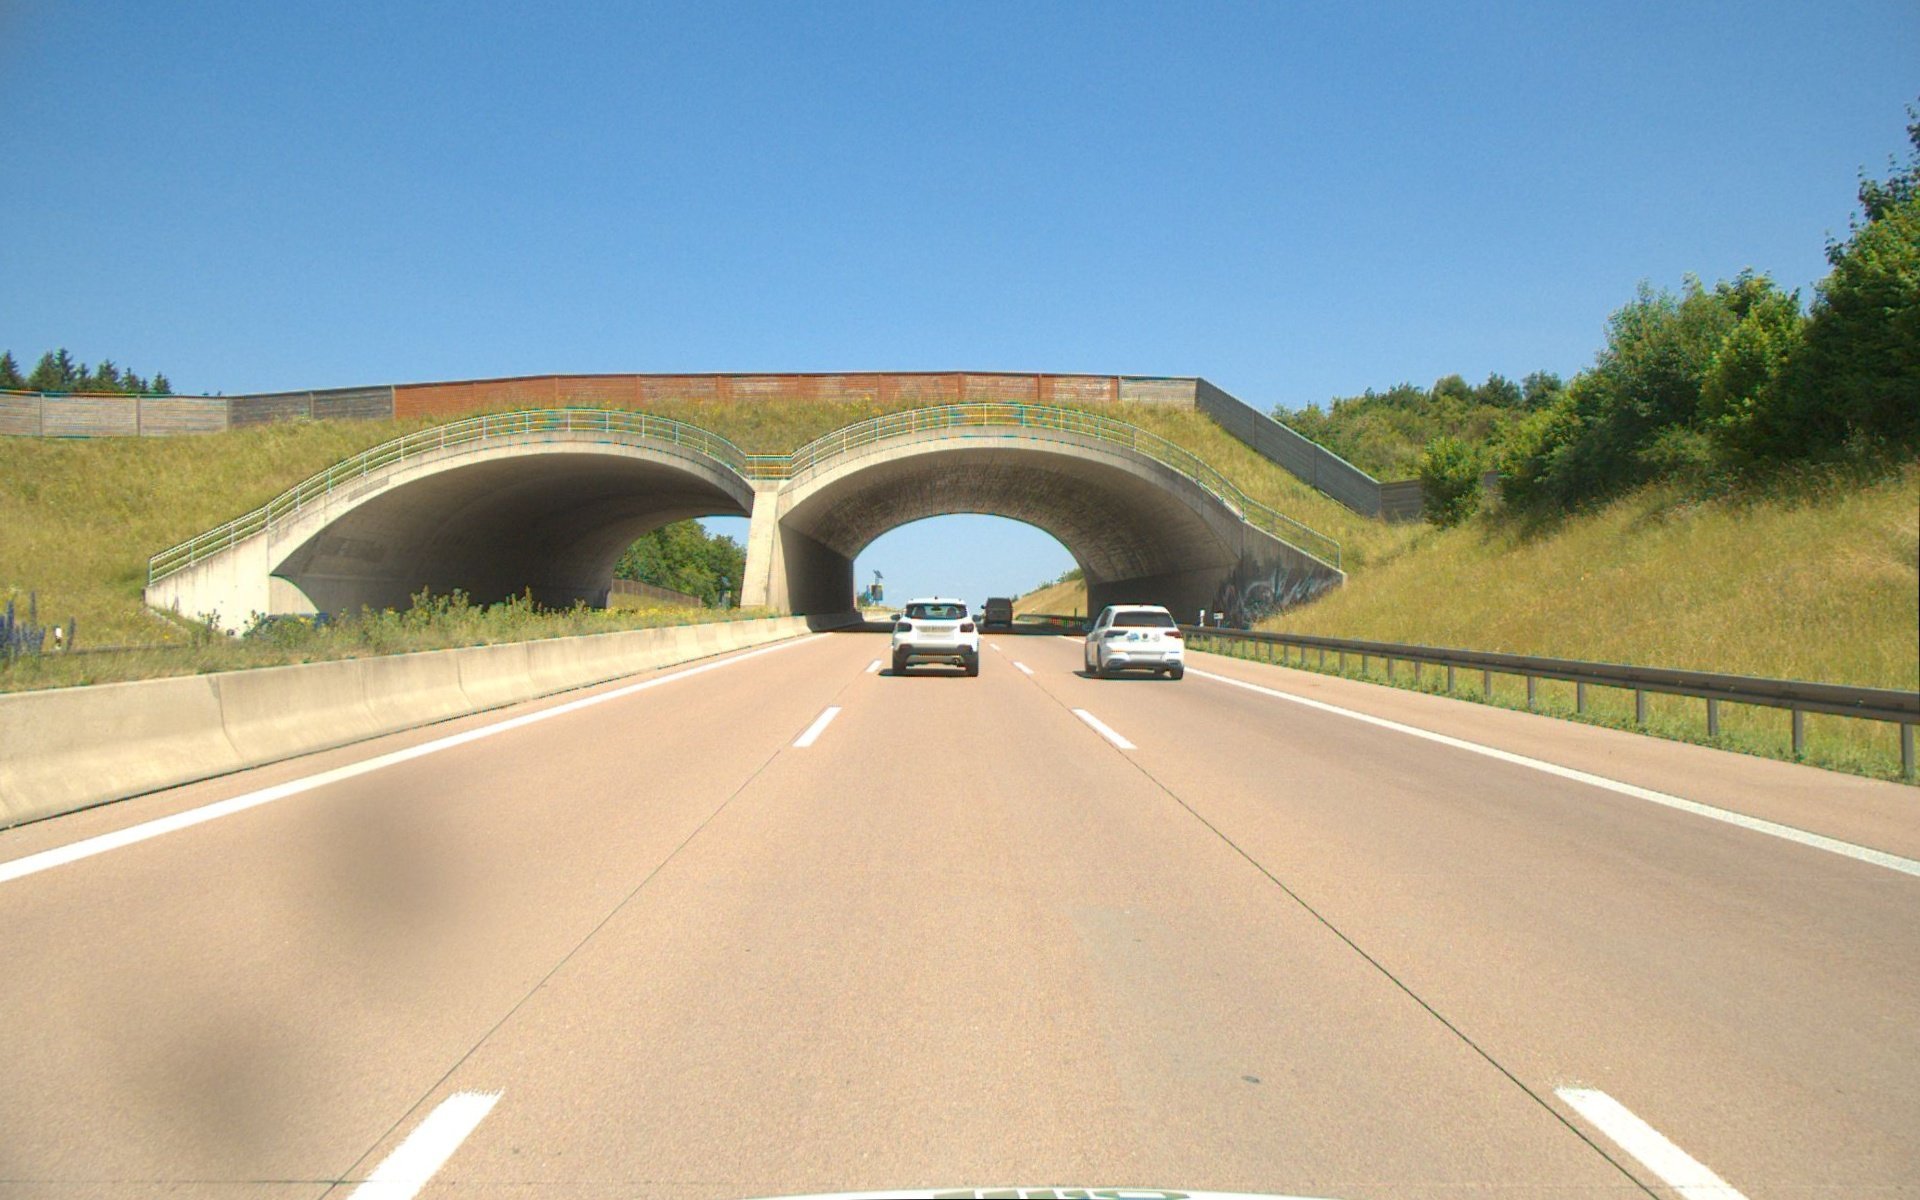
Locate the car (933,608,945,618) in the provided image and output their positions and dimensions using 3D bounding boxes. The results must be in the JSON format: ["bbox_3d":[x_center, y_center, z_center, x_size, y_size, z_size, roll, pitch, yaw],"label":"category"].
[{"bbox_3d":[-3.202,2.025,255.685,1.852,1.489,4.000,2,1,-1],"label":"car"}]

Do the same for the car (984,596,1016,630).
[{"bbox_3d":[2.683,0.864,110.840,2.067,2.089,4.001,1,1,1],"label":"car"}]

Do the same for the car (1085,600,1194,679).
[{"bbox_3d":[3.654,0.771,34.229,1.852,1.422,4.001,1,1,1],"label":"car"}]

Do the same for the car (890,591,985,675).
[{"bbox_3d":[-0.476,0.643,34.712,1.841,1.635,4.833,1,0,-1],"label":"car"}]

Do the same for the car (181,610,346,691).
[{"bbox_3d":[-16.410,1.134,39.287,1.852,1.621,4.978,1,1,-1],"label":"car"}]
